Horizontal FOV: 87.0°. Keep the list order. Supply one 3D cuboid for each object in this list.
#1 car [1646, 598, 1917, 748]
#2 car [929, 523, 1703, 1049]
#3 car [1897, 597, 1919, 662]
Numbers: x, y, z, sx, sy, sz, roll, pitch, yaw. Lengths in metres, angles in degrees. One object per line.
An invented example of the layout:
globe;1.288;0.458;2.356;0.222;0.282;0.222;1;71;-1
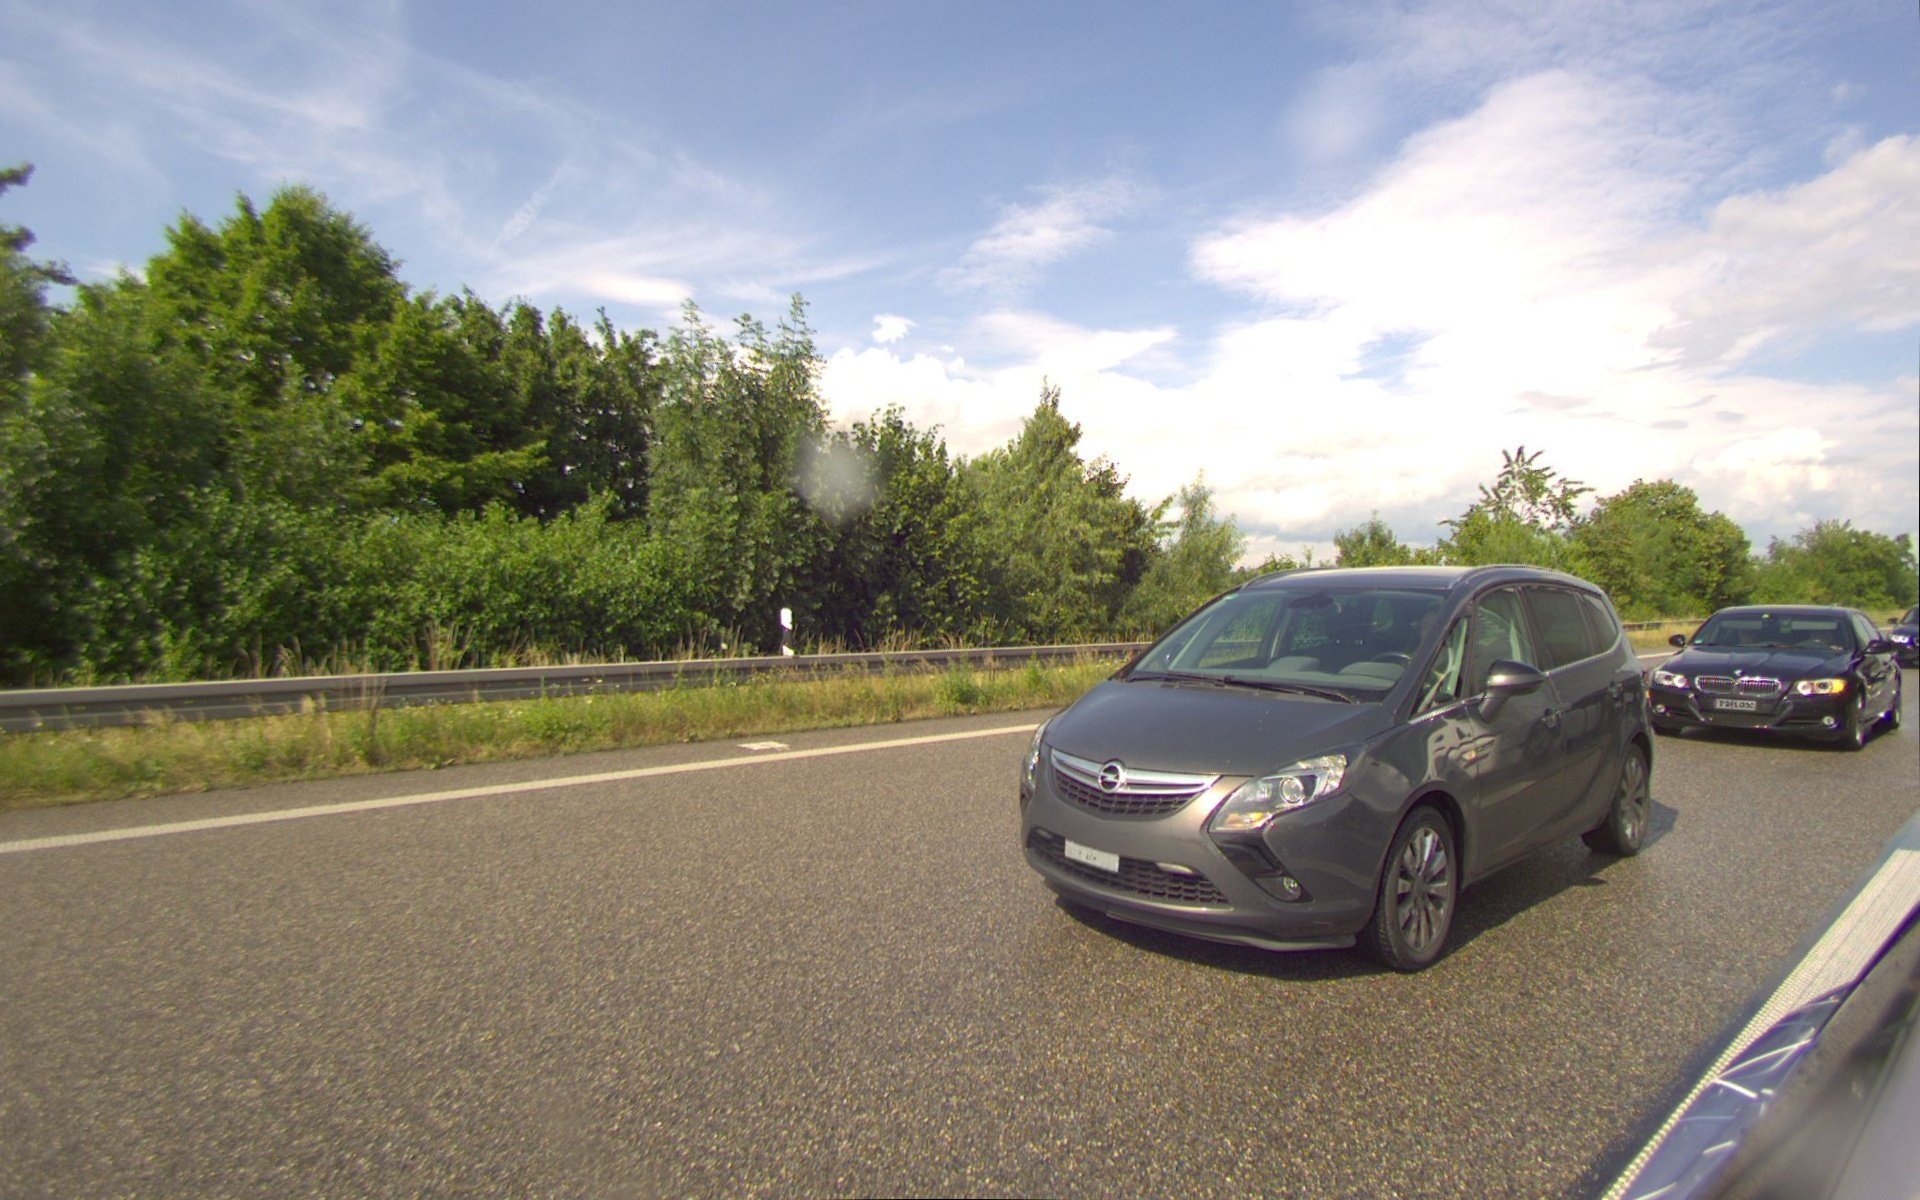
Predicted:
car;9.208;0.676;11.243;3.816;1.371;1.721;0;0;-41
car;2.215;0.567;5.415;4.652;1.652;1.857;0;0;-41
car;22.373;0.645;22.772;1.740;1.382;3.935;0;1;45
